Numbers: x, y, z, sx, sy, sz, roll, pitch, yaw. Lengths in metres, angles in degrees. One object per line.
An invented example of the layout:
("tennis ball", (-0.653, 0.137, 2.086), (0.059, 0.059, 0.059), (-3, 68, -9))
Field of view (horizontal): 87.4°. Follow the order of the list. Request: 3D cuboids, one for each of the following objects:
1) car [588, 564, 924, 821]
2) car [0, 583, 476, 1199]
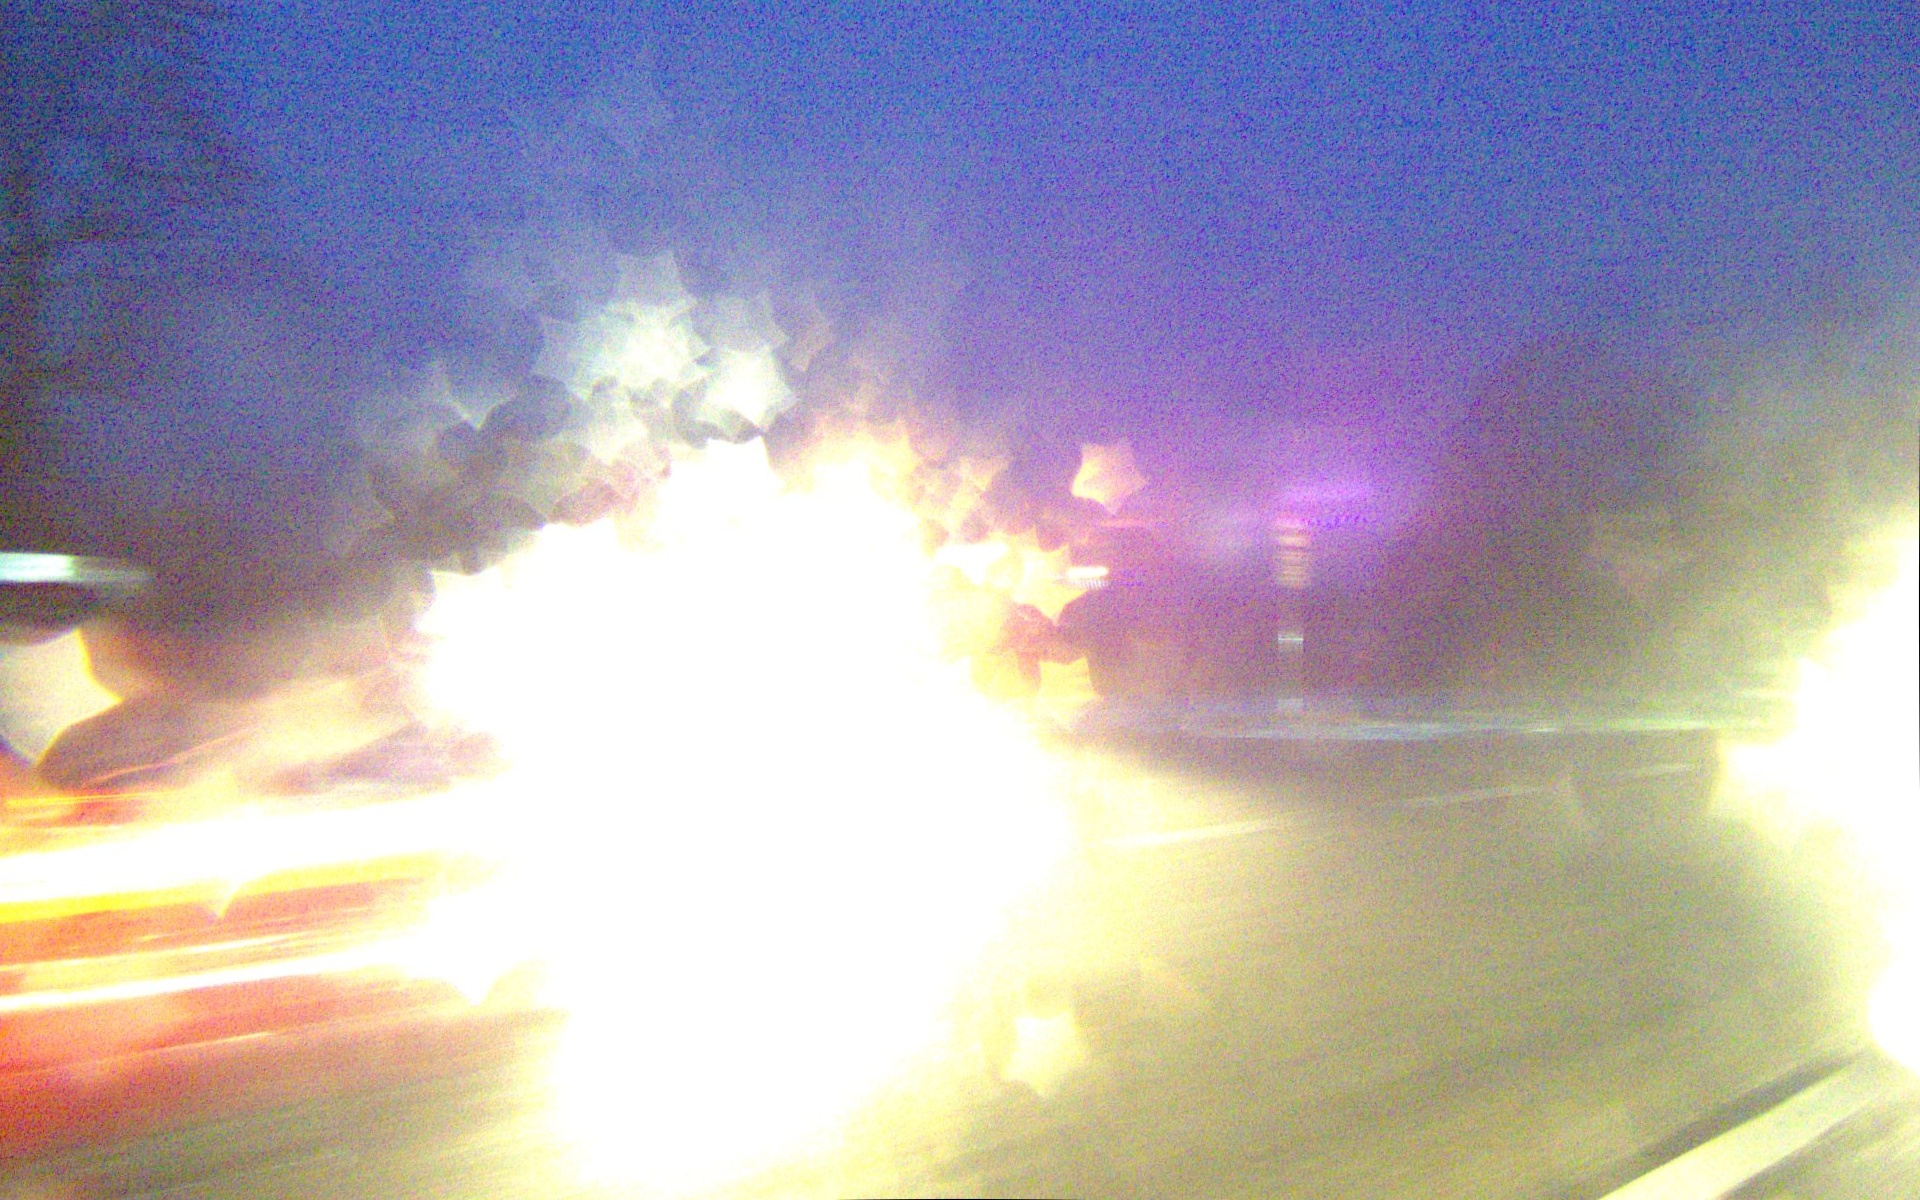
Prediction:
("car", (-2.296, 0.778, 9.935), (1.910, 1.862, 4.914), (1, -3, -29))
("car", (-2.956, 0.671, 1.957), (3.511, 1.443, 1.591), (2, -1, -30))
